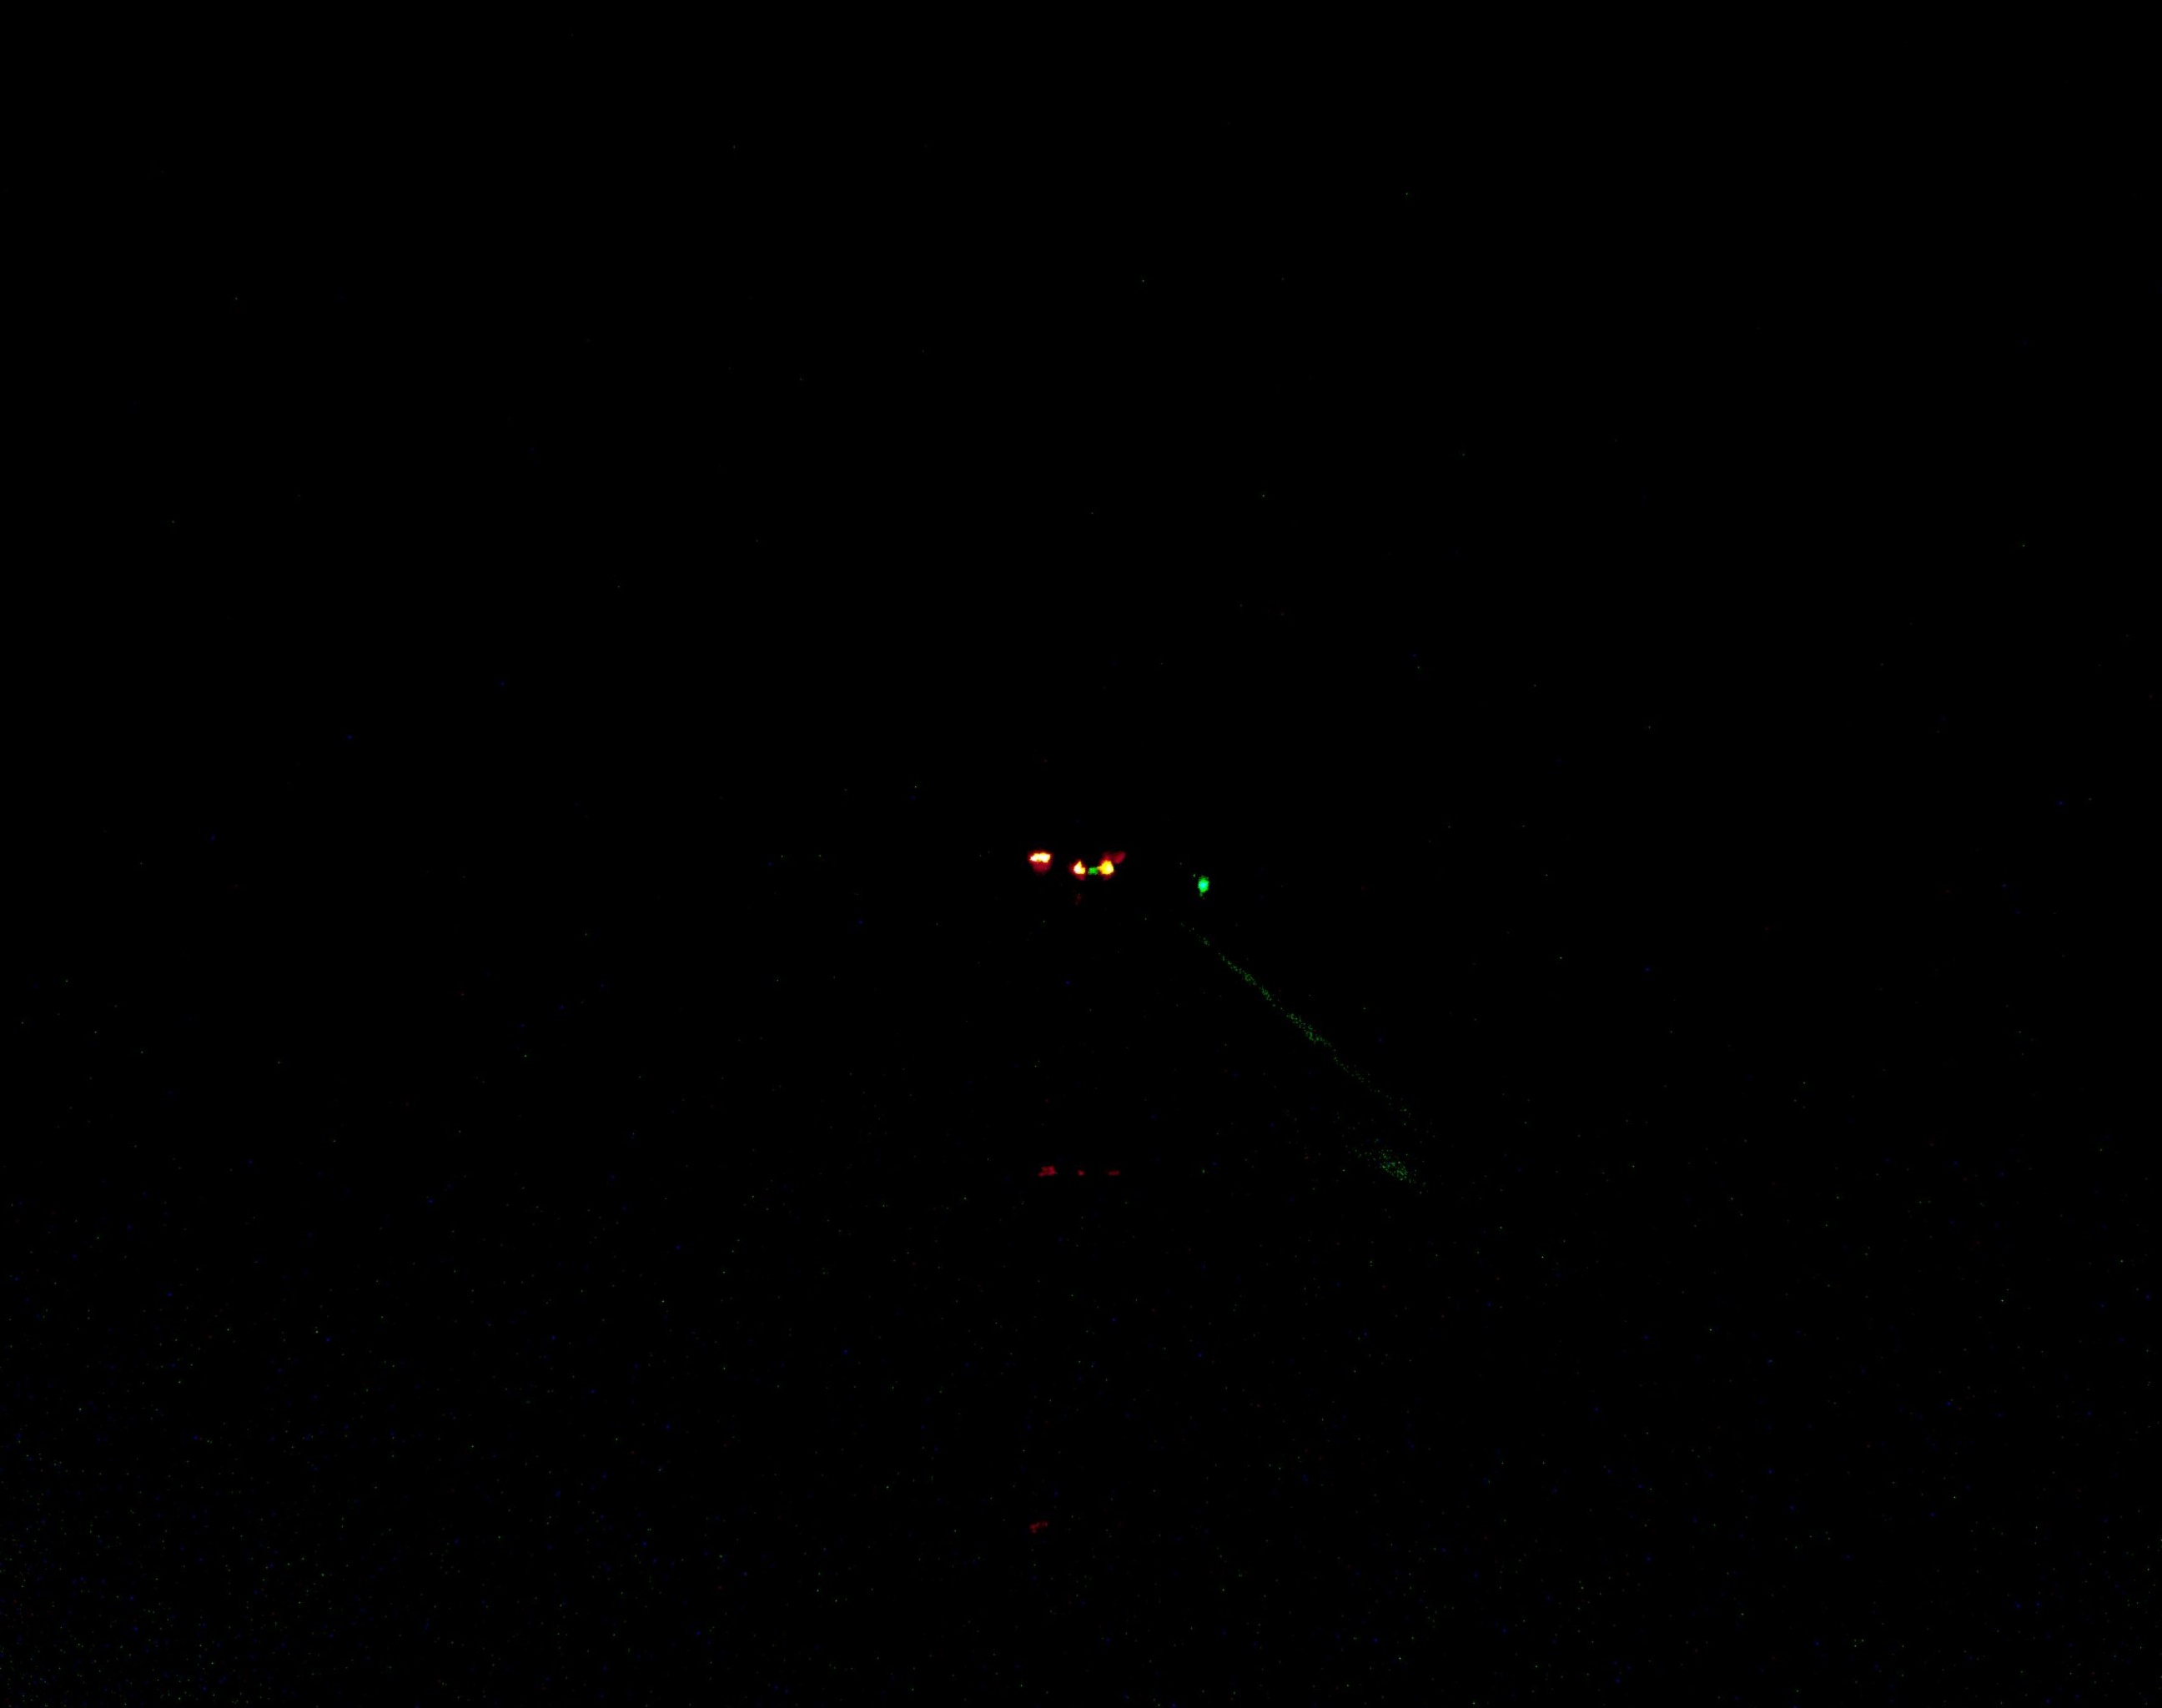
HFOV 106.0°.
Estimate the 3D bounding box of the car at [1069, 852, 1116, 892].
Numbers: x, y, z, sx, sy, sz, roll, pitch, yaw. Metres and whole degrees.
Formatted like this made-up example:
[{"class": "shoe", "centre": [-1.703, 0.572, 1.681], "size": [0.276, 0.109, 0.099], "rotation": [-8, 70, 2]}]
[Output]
[{"class": "car", "centre": [0.531, 0.775, 38.171], "size": [1.987, 1.628, 4.985], "rotation": [-2, 1, 0]}]
